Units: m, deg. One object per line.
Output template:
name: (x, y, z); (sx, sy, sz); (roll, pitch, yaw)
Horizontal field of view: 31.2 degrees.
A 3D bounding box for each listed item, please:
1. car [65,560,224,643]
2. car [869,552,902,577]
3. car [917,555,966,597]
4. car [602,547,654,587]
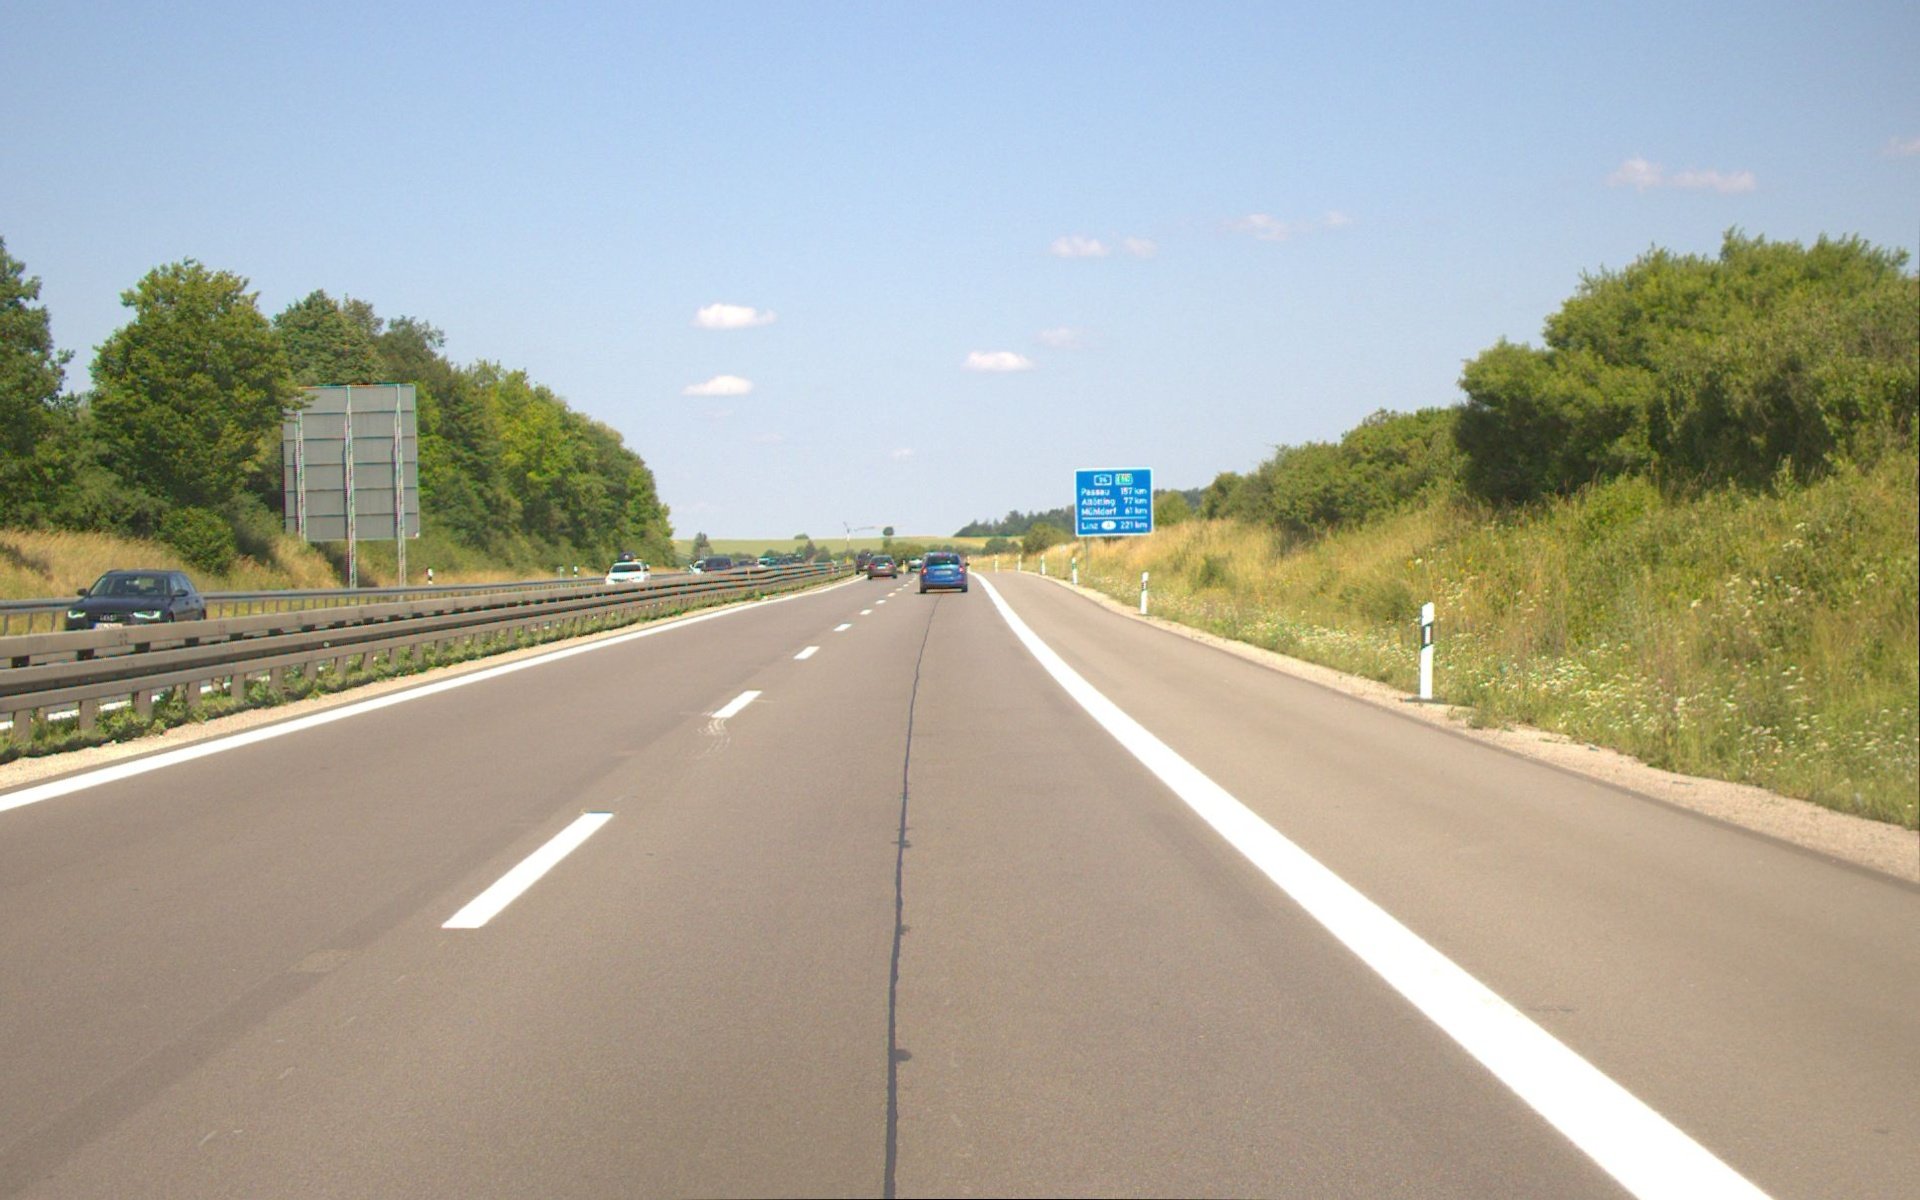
car: (-15.239, 0.001, 64.494); (1.724, 1.462, 5.241); (0, 1, 0)
car: (-4.575, -2.180, 210.337); (1.829, 1.448, 3.592); (-3, 0, 1)
car: (-0.673, -0.879, 125.598); (1.676, 1.448, 3.592); (-3, 0, 0)
car: (-15.724, -1.586, 162.945); (1.945, 1.839, 5.184); (-1, 1, 0)
